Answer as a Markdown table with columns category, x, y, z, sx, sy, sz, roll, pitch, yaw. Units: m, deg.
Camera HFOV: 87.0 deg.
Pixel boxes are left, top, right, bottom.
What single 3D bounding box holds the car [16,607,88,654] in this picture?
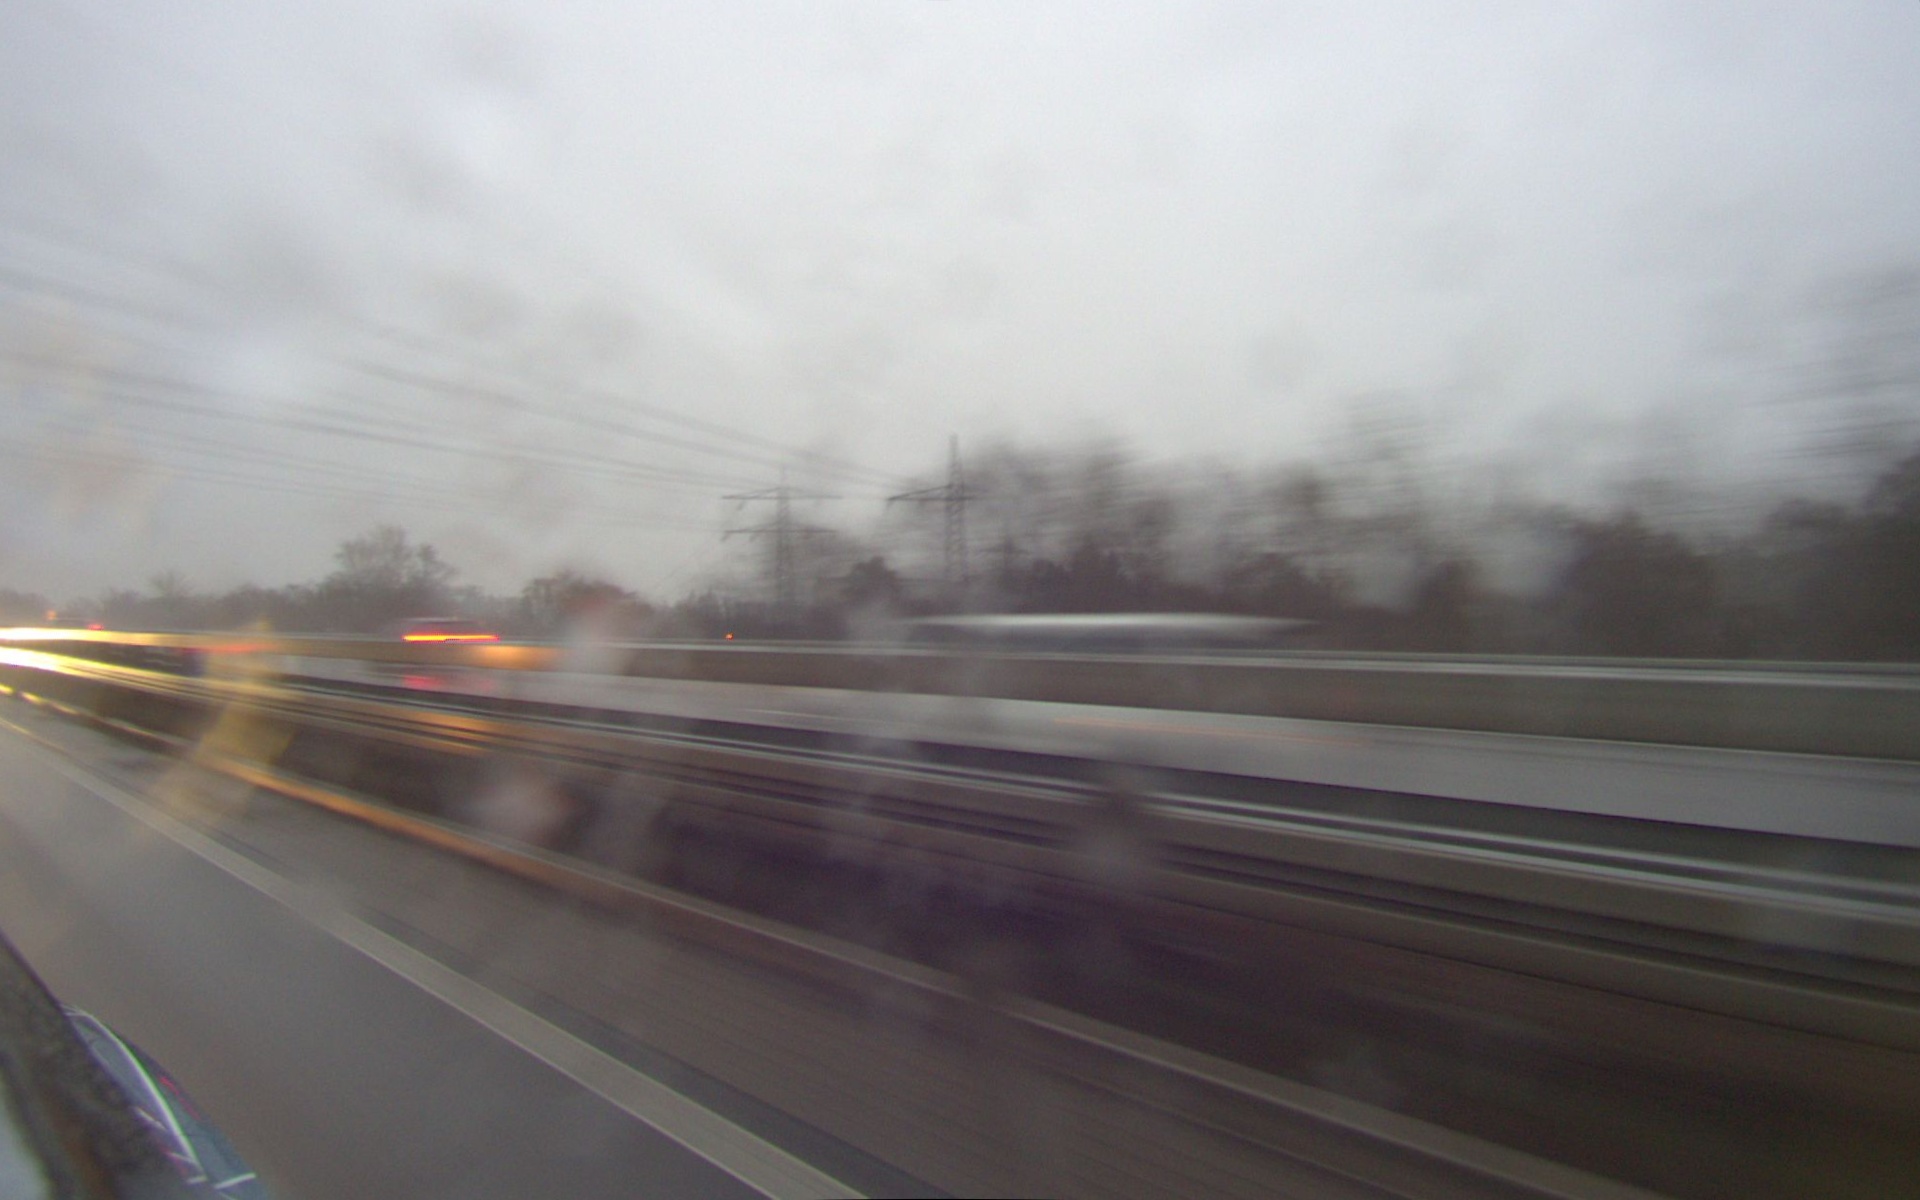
| category | x | y | z | sx | sy | sz | roll | pitch | yaw |
| --- | --- | --- | --- | --- | --- | --- | --- | --- | --- |
| car | -41.294 | 1.366 | 46.005 | 3.998 | 2.029 | 1.973 | -1 | -2 | 41 |

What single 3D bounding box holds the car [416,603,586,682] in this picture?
| category | x | y | z | sx | sy | sz | roll | pitch | yaw |
| --- | --- | --- | --- | --- | --- | --- | --- | --- | --- |
| car | -11.666 | 1.047 | 25.568 | 4.807 | 1.805 | 2.141 | -2 | -2 | 41 |

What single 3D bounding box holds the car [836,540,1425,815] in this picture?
| category | x | y | z | sx | sy | sz | roll | pitch | yaw |
| --- | --- | --- | --- | --- | --- | --- | --- | --- | --- |
| car | 1.291 | 0.574 | 9.063 | 4.807 | 1.805 | 2.141 | -2 | -2 | 41 |
